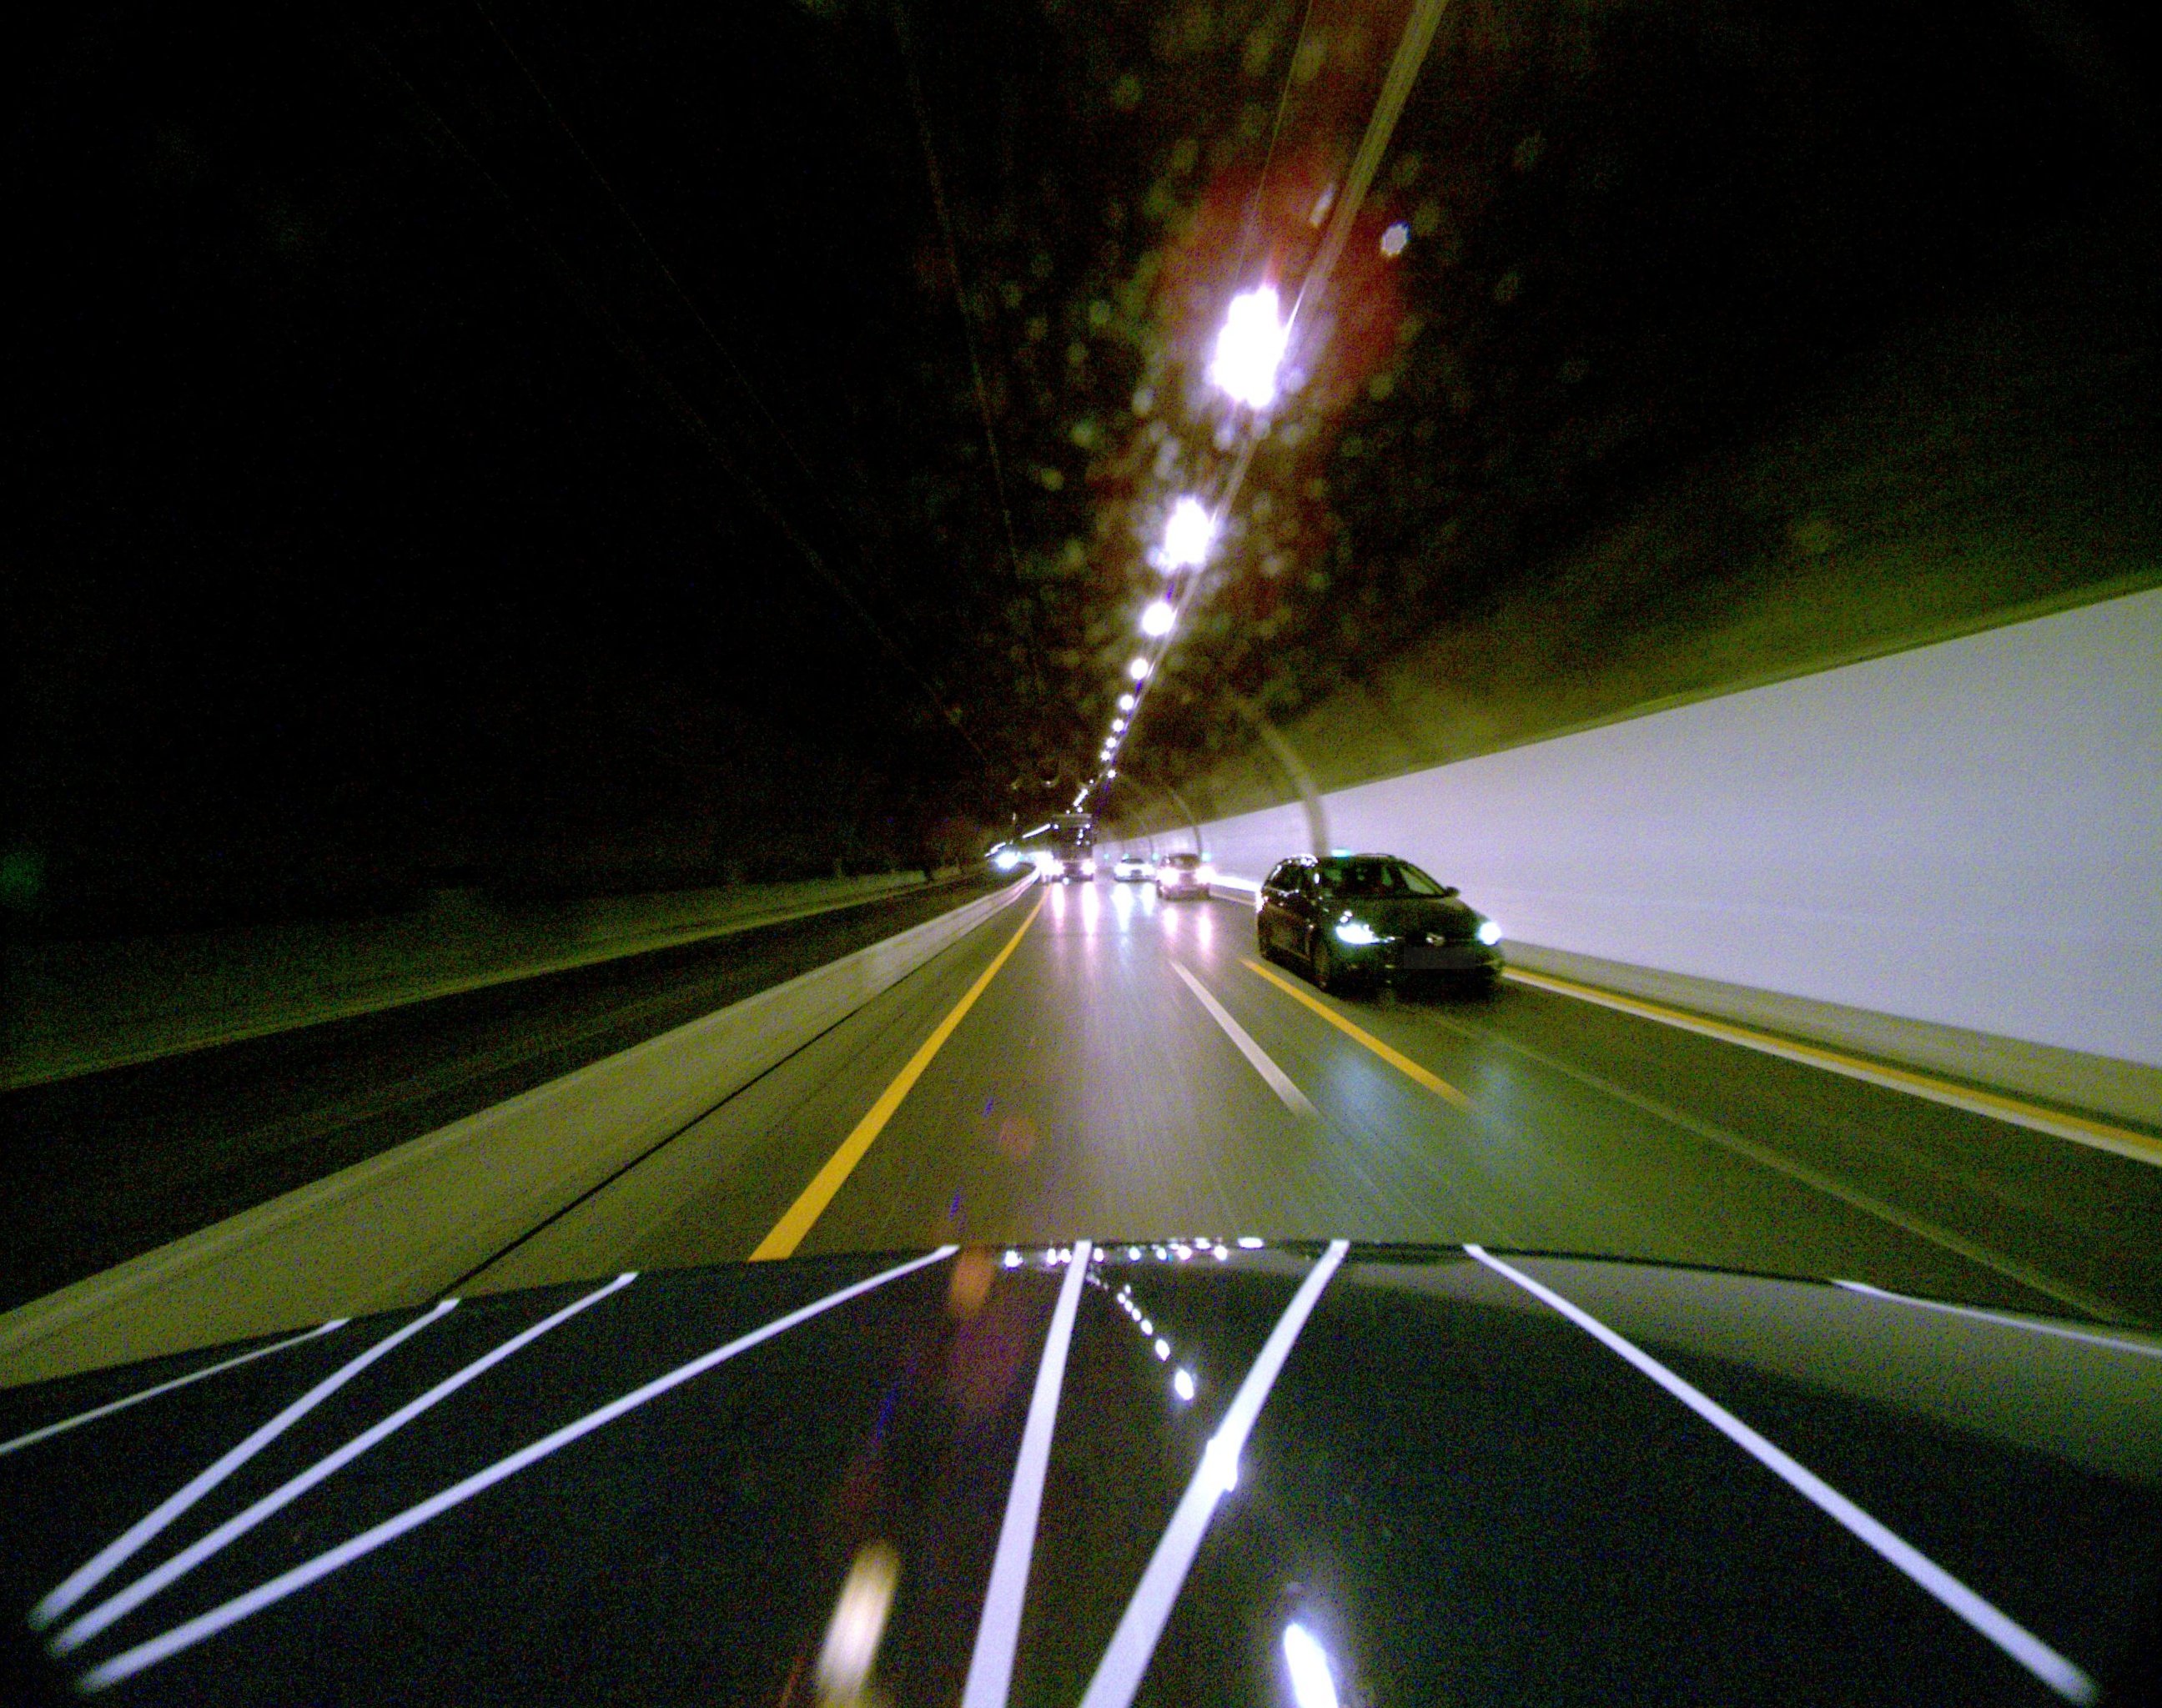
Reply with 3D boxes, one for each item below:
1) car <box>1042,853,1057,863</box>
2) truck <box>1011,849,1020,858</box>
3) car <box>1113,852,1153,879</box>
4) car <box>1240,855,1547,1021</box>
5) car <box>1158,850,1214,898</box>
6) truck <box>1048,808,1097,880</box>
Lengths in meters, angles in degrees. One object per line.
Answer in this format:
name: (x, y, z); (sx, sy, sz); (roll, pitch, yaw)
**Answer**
car: (-4.735, 0.600, 114.781); (1.999, 1.524, 3.998); (-2, 0, -5)
truck: (-20.844, -0.299, 242.190); (2.611, 2.723, 6.393); (-2, 0, -7)
car: (2.957, 0.647, 43.631); (1.909, 1.412, 4.060); (-2, 0, -1)
car: (3.356, 0.769, 9.358); (1.782, 1.430, 4.882); (-2, 0, 1)
car: (3.519, 0.645, 25.814); (1.531, 1.508, 2.651); (-2, 0, 0)
truck: (-0.492, -0.598, 48.942); (2.742, 4.127, 8.100); (-2, 0, 0)
